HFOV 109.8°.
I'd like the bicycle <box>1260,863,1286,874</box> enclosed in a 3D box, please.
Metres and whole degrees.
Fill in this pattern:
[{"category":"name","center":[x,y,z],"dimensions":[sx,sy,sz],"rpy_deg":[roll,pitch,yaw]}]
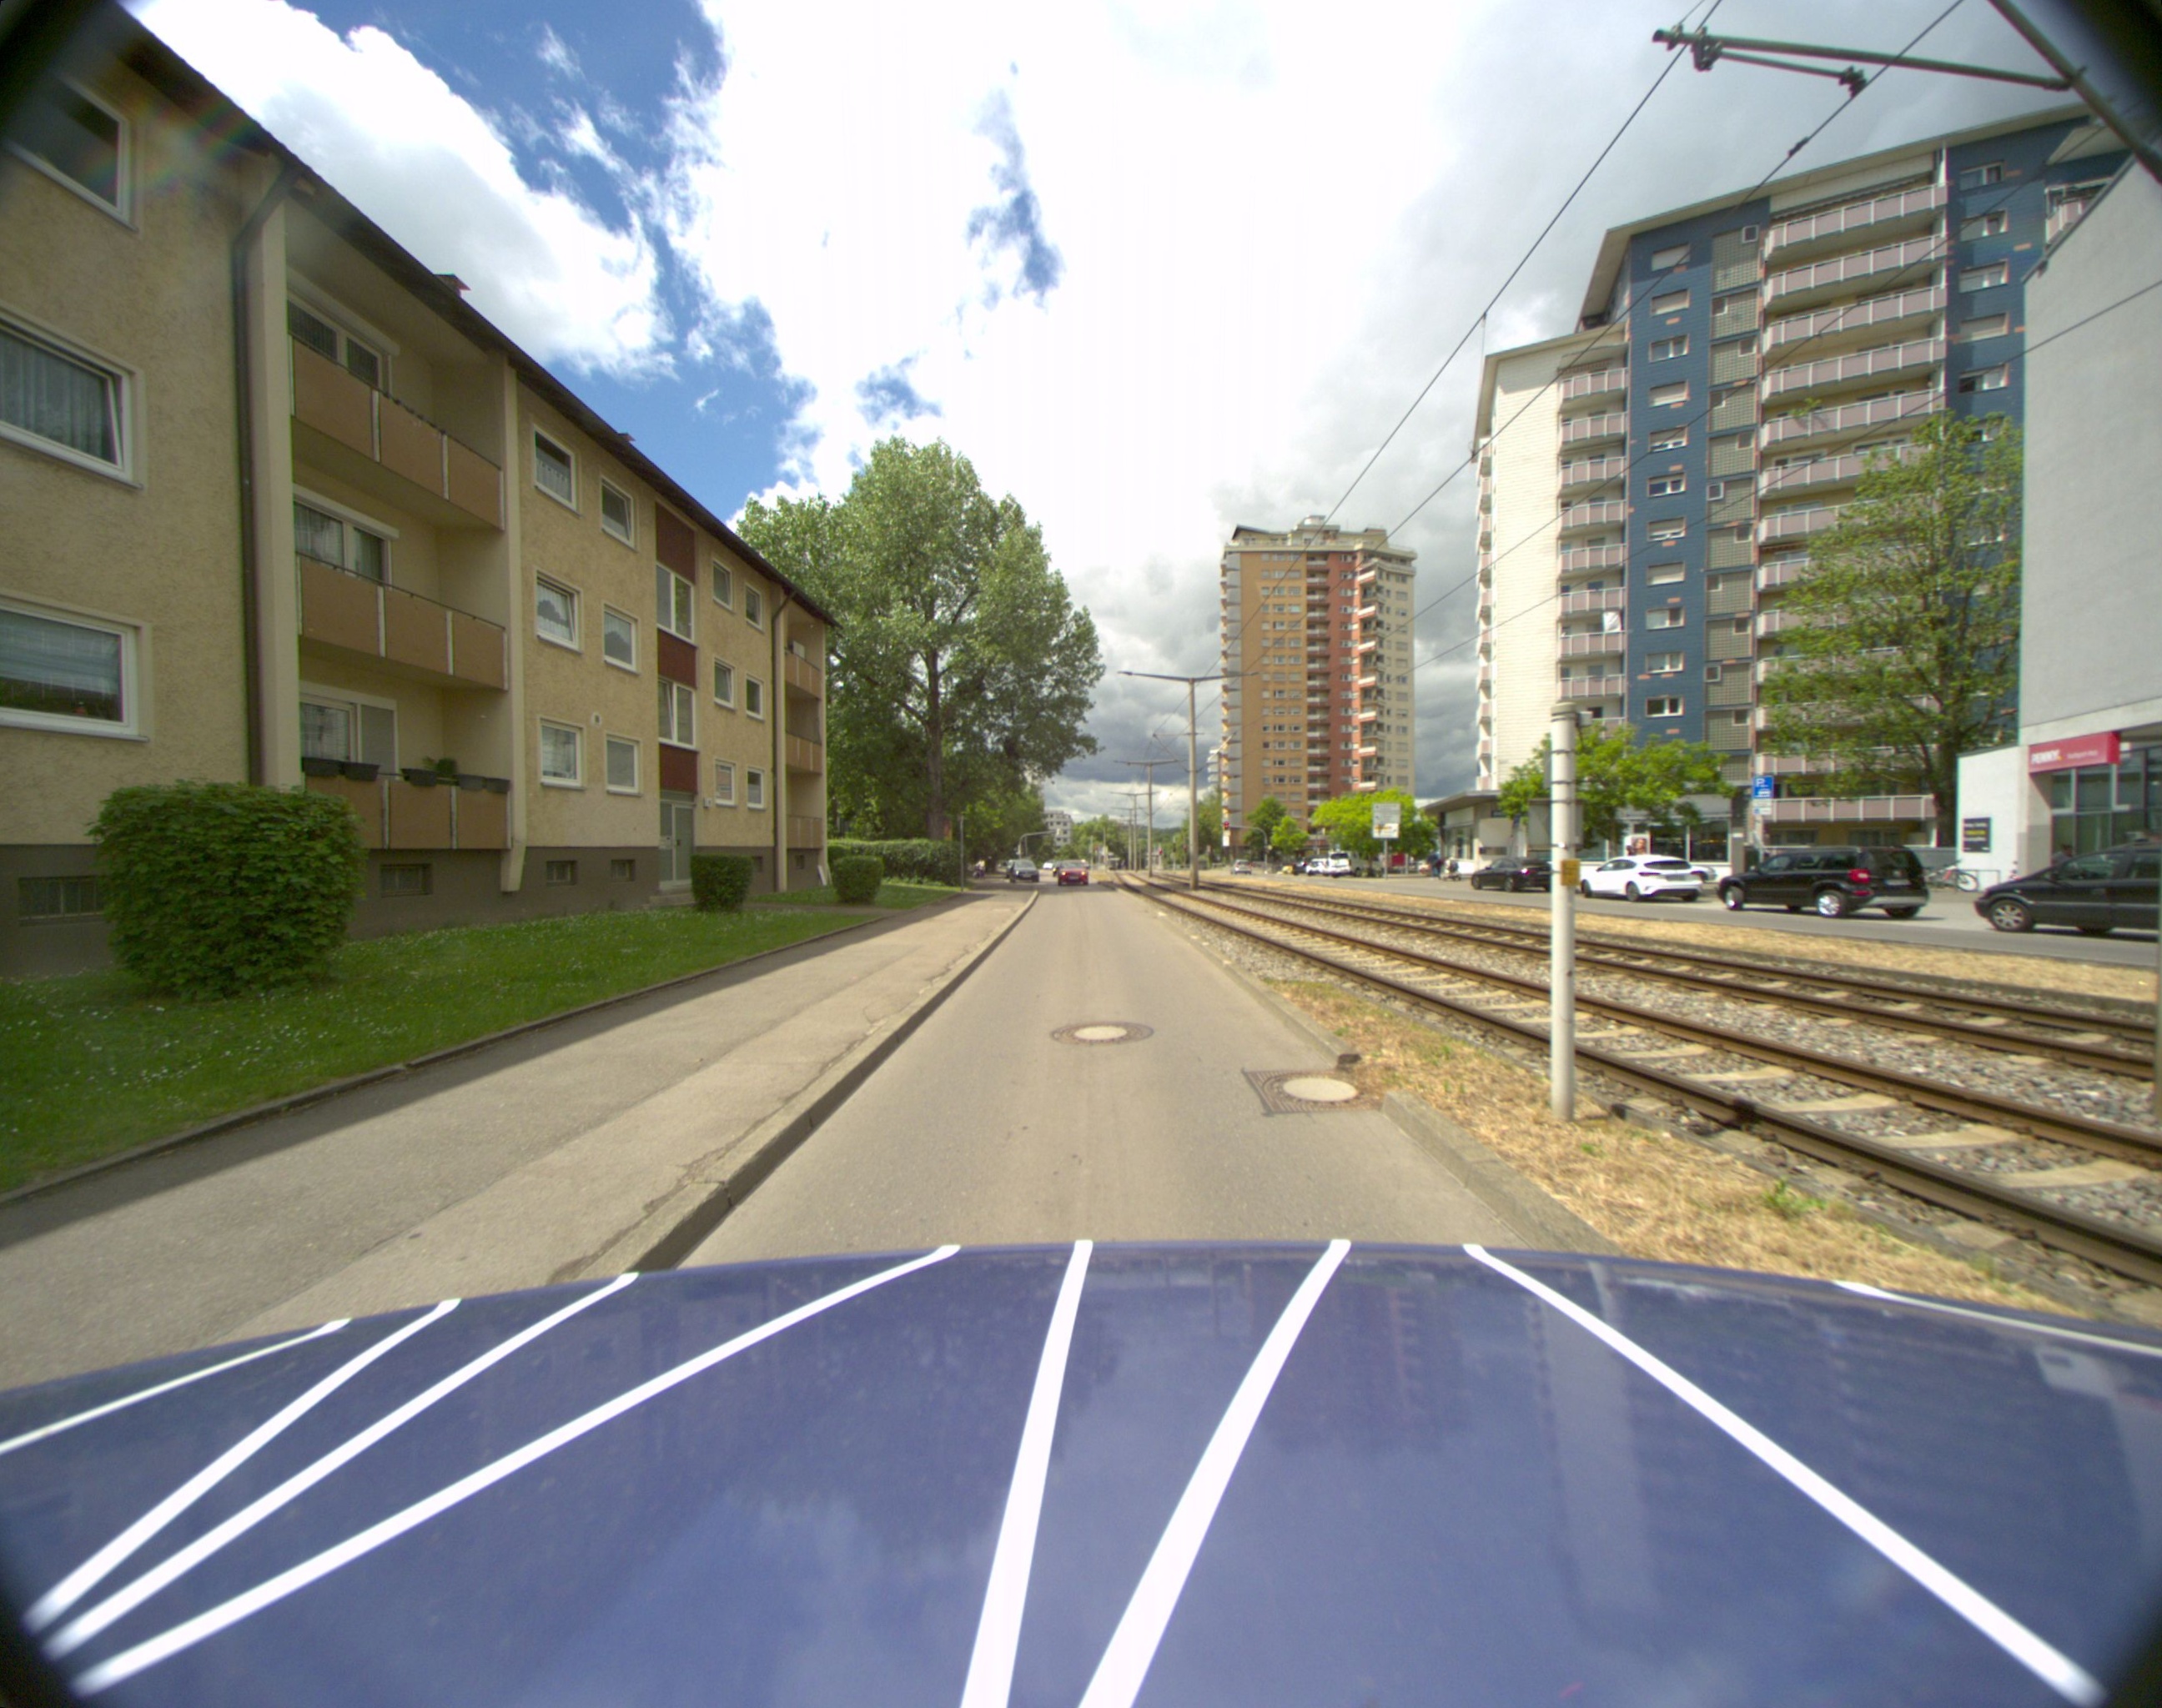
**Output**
[{"category":"bicycle","center":[19.839,1.510,78.559],"dimensions":[2.433,1.028,0.717],"rpy_deg":[-1,0,2]}]

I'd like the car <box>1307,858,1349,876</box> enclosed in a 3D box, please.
[{"category":"car","center":[21.776,1.162,67.052],"dimensions":[3.774,1.487,1.742],"rpy_deg":[1,-1,-39]}]

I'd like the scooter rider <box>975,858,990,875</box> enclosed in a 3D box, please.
[{"category":"scooter rider","center":[-6.841,0.869,52.618],"dimensions":[0.887,1.213,1.282],"rpy_deg":[1,-1,-2]}]

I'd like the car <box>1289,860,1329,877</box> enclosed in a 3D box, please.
[{"category":"car","center":[21.501,1.369,71.615],"dimensions":[1.927,1.582,4.009],"rpy_deg":[0,-1,44]}]

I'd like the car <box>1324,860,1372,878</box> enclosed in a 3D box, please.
[{"category":"car","center":[21.449,1.215,60.995],"dimensions":[4.009,1.375,1.901],"rpy_deg":[1,-1,-41]}]

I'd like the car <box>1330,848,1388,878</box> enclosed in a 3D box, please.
[{"category":"car","center":[20.554,0.694,56.085],"dimensions":[4.772,2.144,1.901],"rpy_deg":[1,-1,-41]}]

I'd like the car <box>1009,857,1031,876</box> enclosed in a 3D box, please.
[{"category":"car","center":[-5.132,1.039,64.019],"dimensions":[1.789,1.556,4.568],"rpy_deg":[1,-1,-5]}]

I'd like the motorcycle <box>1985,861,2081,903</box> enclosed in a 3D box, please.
[{"category":"motorcycle","center":[27.456,0.805,21.932],"dimensions":[1.897,1.171,0.741],"rpy_deg":[1,0,-2]}]

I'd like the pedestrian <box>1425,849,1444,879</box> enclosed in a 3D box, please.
[{"category":"pedestrian","center":[21.268,0.620,45.717],"dimensions":[0.842,1.782,0.875],"rpy_deg":[1,0,15]}]

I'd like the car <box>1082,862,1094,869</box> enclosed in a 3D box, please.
[{"category":"car","center":[1.152,1.871,125.401],"dimensions":[1.805,1.207,4.023],"rpy_deg":[1,-1,2]}]

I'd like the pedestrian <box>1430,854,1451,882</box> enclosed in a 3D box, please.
[{"category":"pedestrian","center":[20.259,0.793,42.829],"dimensions":[0.983,1.561,0.516],"rpy_deg":[-2,-4,43]}]

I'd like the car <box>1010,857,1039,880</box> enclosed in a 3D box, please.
[{"category":"car","center":[-3.672,0.965,49.900],"dimensions":[1.820,1.440,3.825],"rpy_deg":[1,-1,-3]}]

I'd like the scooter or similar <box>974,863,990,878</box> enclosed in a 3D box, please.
[{"category":"scooter or similar","center":[-6.847,1.143,52.513],"dimensions":[0.892,1.058,2.114],"rpy_deg":[1,-1,-2]}]

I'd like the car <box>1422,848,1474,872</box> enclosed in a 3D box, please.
[{"category":"car","center":[51.887,0.812,107.595],"dimensions":[6.295,3.279,2.002],"rpy_deg":[1,0,10]}]

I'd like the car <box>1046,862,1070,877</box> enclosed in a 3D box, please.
[{"category":"car","center":[-2.049,1.391,69.025],"dimensions":[1.998,1.280,4.000],"rpy_deg":[1,-1,0]}]

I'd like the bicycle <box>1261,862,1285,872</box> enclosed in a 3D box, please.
[{"category":"bicycle","center":[20.998,1.442,83.184],"dimensions":[2.433,1.059,0.705],"rpy_deg":[1,0,2]}]

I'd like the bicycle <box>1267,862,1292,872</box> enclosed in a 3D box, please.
[{"category":"bicycle","center":[20.906,1.394,80.015],"dimensions":[2.433,1.059,0.705],"rpy_deg":[1,0,2]}]

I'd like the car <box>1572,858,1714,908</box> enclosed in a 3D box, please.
[{"category":"car","center":[18.336,0.903,25.068],"dimensions":[1.758,1.466,4.403],"rpy_deg":[1,-1,6]}]

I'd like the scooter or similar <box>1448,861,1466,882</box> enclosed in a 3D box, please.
[{"category":"scooter or similar","center":[20.876,0.971,42.201],"dimensions":[0.767,1.117,0.582],"rpy_deg":[-2,-4,42]}]

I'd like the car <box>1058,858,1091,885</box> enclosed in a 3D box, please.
[{"category":"car","center":[-0.445,0.985,44.356],"dimensions":[1.819,1.483,3.999],"rpy_deg":[-1,0,-2]}]

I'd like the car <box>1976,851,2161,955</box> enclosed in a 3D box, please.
[{"category":"car","center":[18.133,0.792,12.539],"dimensions":[1.998,1.638,4.101],"rpy_deg":[1,-1,3]}]

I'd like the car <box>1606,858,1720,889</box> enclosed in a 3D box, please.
[{"category":"car","center":[28.405,0.921,37.267],"dimensions":[4.343,1.434,2.005],"rpy_deg":[0,-1,36]}]

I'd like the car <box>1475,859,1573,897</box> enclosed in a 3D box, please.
[{"category":"car","center":[18.445,0.953,31.885],"dimensions":[1.738,1.420,4.381],"rpy_deg":[-1,0,3]}]

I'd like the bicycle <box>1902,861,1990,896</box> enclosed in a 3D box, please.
[{"category":"bicycle","center":[30.881,0.862,27.158],"dimensions":[1.968,1.205,0.670],"rpy_deg":[0,-1,32]}]

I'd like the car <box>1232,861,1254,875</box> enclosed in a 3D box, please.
[{"category":"car","center":[17.418,1.511,81.744],"dimensions":[1.822,1.523,3.756],"rpy_deg":[1,-1,5]}]

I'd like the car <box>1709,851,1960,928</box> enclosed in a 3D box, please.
[{"category":"car","center":[18.112,0.800,18.602],"dimensions":[1.999,1.652,4.099],"rpy_deg":[-1,-1,-2]}]

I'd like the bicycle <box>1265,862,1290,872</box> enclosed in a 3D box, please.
[{"category":"bicycle","center":[20.912,1.405,80.779],"dimensions":[2.433,1.059,0.705],"rpy_deg":[1,0,2]}]

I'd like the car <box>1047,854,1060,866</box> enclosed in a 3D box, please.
[{"category":"car","center":[-4.065,0.905,114.066],"dimensions":[1.802,1.683,3.606],"rpy_deg":[1,-1,0]}]

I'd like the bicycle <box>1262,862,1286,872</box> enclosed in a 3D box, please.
[{"category":"bicycle","center":[20.959,1.429,82.386],"dimensions":[2.433,1.059,0.705],"rpy_deg":[1,0,2]}]

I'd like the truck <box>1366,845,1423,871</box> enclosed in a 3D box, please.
[{"category":"truck","center":[44.781,0.548,108.769],"dimensions":[7.090,3.652,2.548],"rpy_deg":[1,0,8]}]

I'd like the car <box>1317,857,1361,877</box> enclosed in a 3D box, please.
[{"category":"car","center":[21.890,1.078,64.438],"dimensions":[1.901,1.622,4.009],"rpy_deg":[0,-1,45]}]

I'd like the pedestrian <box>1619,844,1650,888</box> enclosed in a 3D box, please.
[{"category":"pedestrian","center":[22.867,0.480,31.401],"dimensions":[0.612,1.782,0.843],"rpy_deg":[1,0,0]}]

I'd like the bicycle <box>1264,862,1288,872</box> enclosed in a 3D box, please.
[{"category":"bicycle","center":[20.930,1.416,81.521],"dimensions":[2.433,1.059,0.705],"rpy_deg":[1,0,2]}]
